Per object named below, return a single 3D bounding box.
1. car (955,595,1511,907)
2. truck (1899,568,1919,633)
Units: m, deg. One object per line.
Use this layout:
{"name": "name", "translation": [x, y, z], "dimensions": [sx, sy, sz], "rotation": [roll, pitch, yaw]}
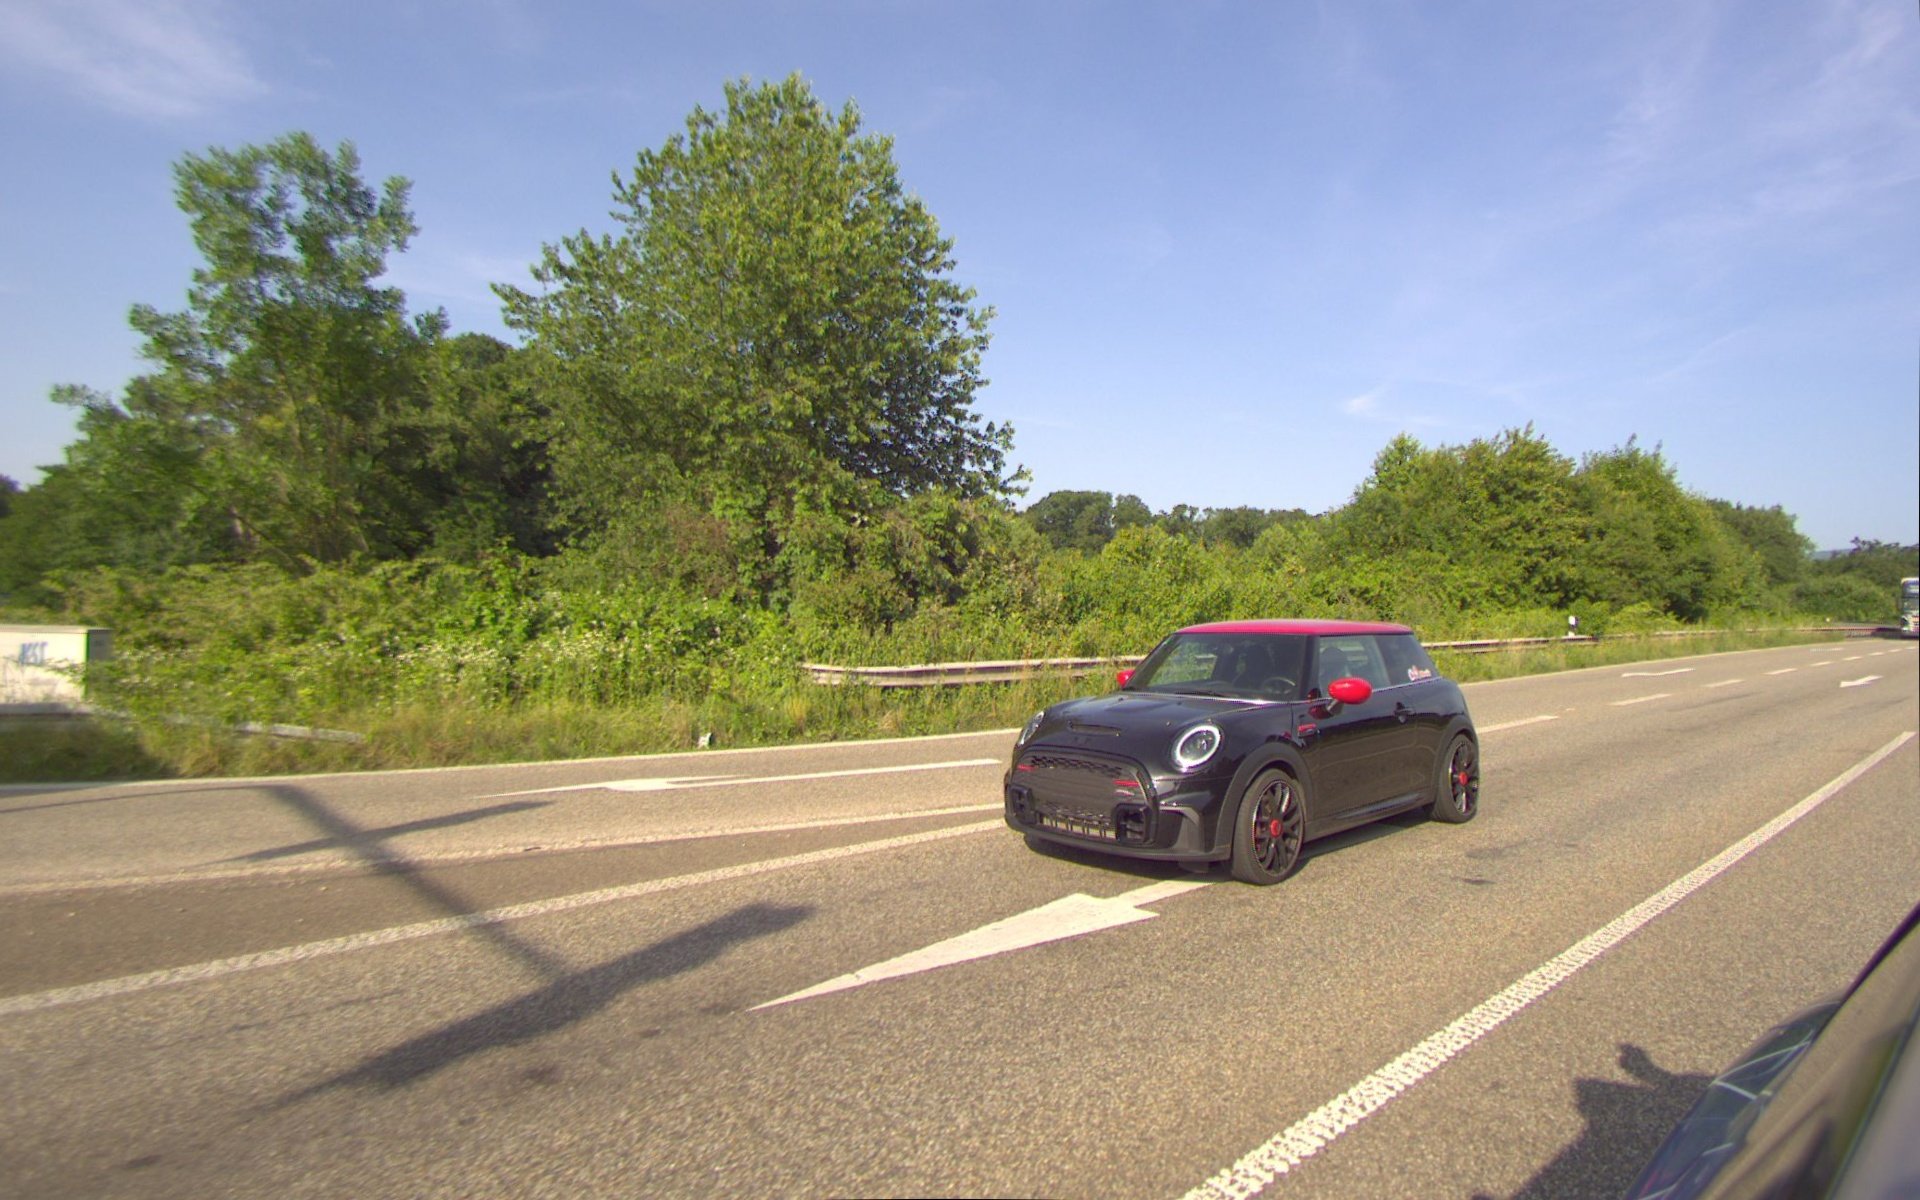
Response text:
{"name": "car", "translation": [1.984, 0.722, 6.783], "dimensions": [3.806, 1.486, 1.822], "rotation": [0, 0, -42]}
{"name": "truck", "translation": [66.427, 0.036, 68.264], "dimensions": [14.312, 4.070, 3.193], "rotation": [0, -1, -42]}
